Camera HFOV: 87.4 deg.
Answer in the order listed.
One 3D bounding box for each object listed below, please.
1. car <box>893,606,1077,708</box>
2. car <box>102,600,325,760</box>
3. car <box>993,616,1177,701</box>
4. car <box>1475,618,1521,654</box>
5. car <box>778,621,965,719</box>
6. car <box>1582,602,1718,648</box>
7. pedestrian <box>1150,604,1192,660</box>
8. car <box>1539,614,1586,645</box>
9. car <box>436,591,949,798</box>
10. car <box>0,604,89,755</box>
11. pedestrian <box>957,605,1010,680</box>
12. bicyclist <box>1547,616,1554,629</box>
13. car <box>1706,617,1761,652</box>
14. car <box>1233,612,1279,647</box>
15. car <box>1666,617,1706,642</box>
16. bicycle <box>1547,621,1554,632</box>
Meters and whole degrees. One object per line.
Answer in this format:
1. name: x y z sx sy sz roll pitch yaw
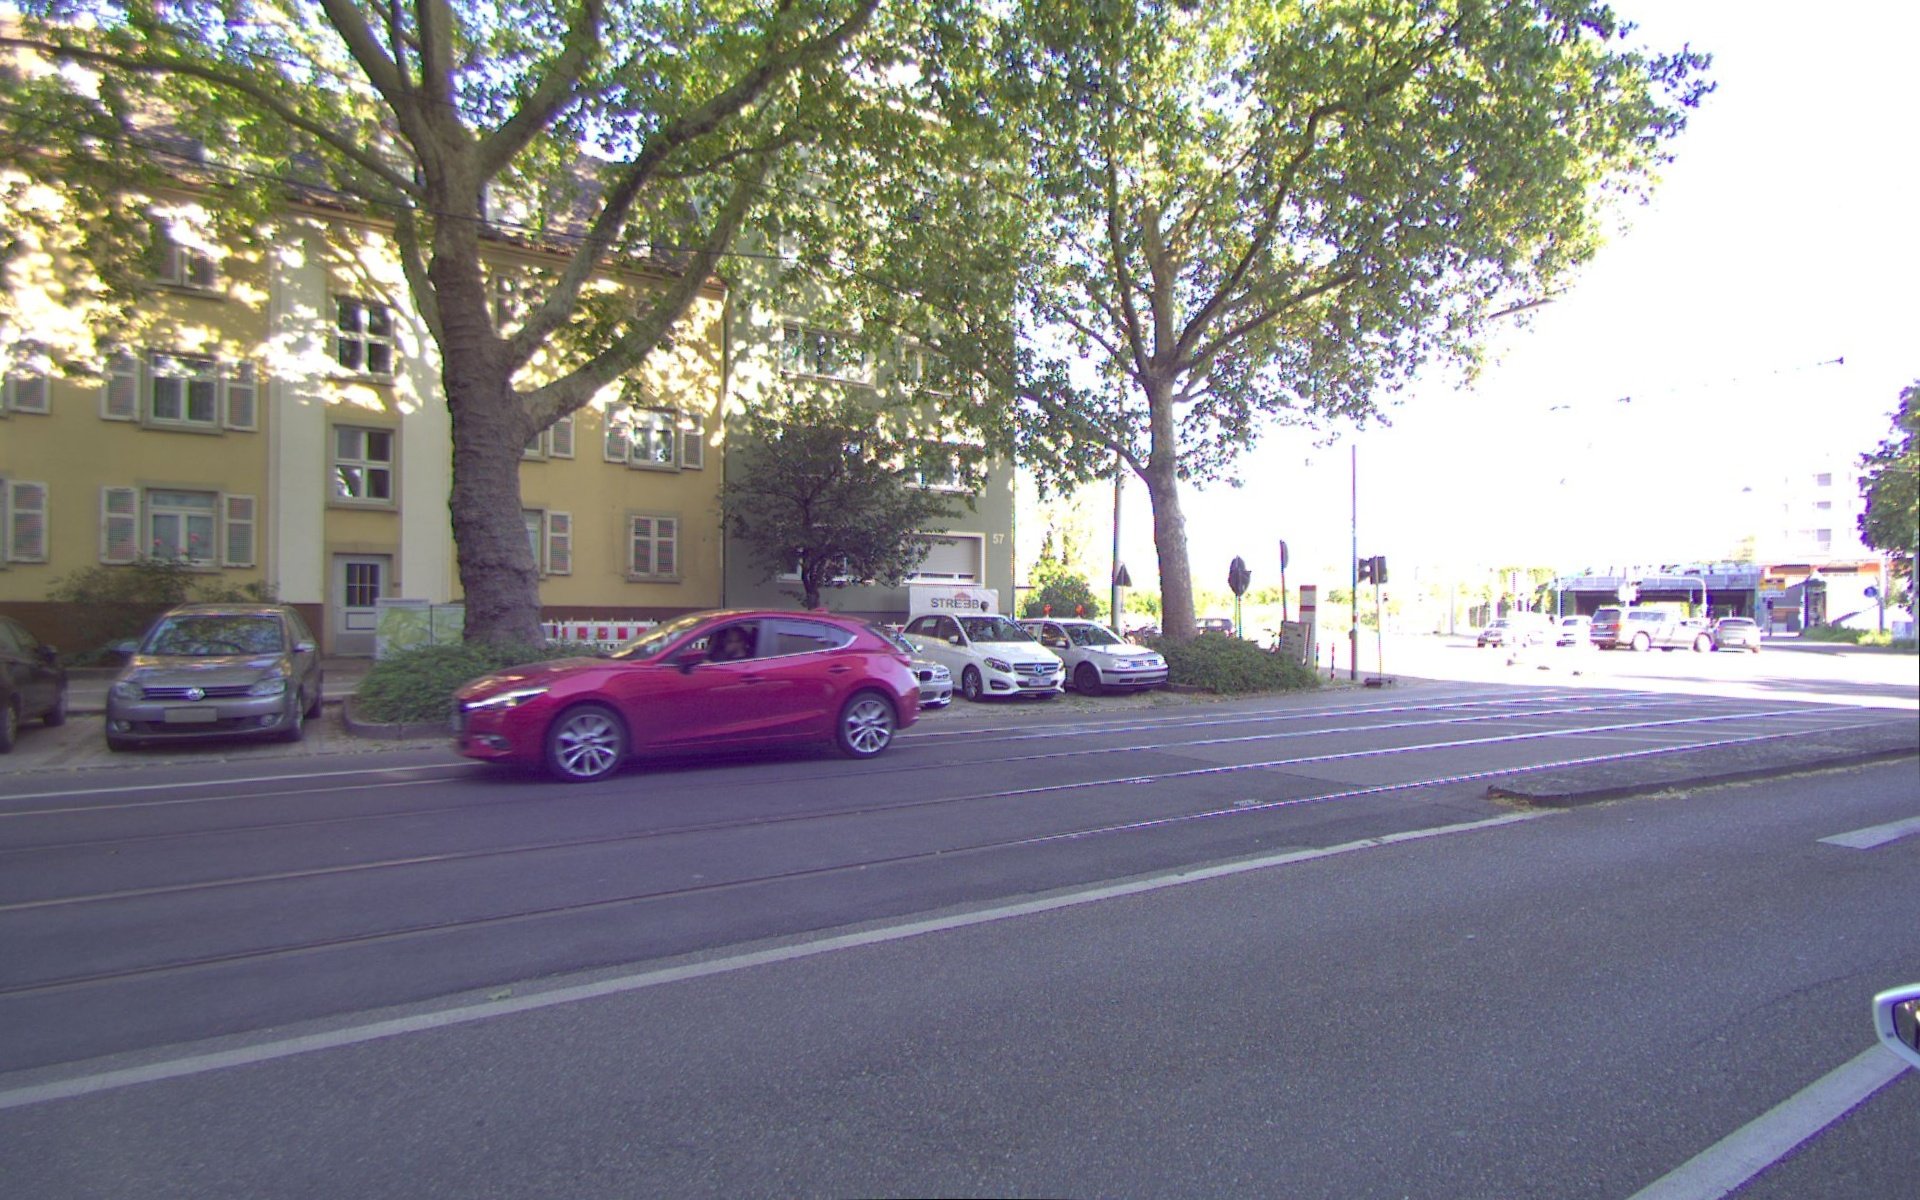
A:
1. car: 0.355 0.983 19.159 1.651 1.669 3.949 1 0 -31
2. car: -8.994 0.832 12.422 1.652 1.602 3.953 1 0 -29
3. car: 2.446 1.110 20.534 1.651 1.473 3.949 1 0 -31
4. car: 28.256 1.866 52.697 1.953 1.788 4.352 0 -1 30
5. car: -1.645 1.109 17.314 1.651 1.370 3.949 1 0 -31
6. car: 29.199 1.066 42.550 4.758 1.907 1.912 0 -1 -9
7. pedestrian: 6.514 0.980 30.994 0.919 1.669 0.841 2 0 -30
8. car: 33.905 1.647 56.494 1.860 1.606 3.823 2 0 37
9. car: -2.503 0.756 9.799 4.445 1.586 2.004 1 -1 -34
10. car: -11.460 0.833 11.390 1.652 1.518 3.778 1 0 -29
11. pedestrian: 0.545 0.973 23.409 0.946 1.683 0.766 2 0 -37
12. bicyclist: 57.169 2.163 97.279 0.519 1.239 0.528 0 0 35
13. car: 37.324 1.642 48.438 1.778 1.539 4.183 2 0 42
14. car: 15.221 1.516 51.564 1.574 1.723 3.636 0 -1 28
15. car: 49.016 1.973 67.835 1.964 1.572 4.185 2 0 33
16. bicycle: 57.198 2.566 97.328 0.518 0.995 1.572 0 -1 34
